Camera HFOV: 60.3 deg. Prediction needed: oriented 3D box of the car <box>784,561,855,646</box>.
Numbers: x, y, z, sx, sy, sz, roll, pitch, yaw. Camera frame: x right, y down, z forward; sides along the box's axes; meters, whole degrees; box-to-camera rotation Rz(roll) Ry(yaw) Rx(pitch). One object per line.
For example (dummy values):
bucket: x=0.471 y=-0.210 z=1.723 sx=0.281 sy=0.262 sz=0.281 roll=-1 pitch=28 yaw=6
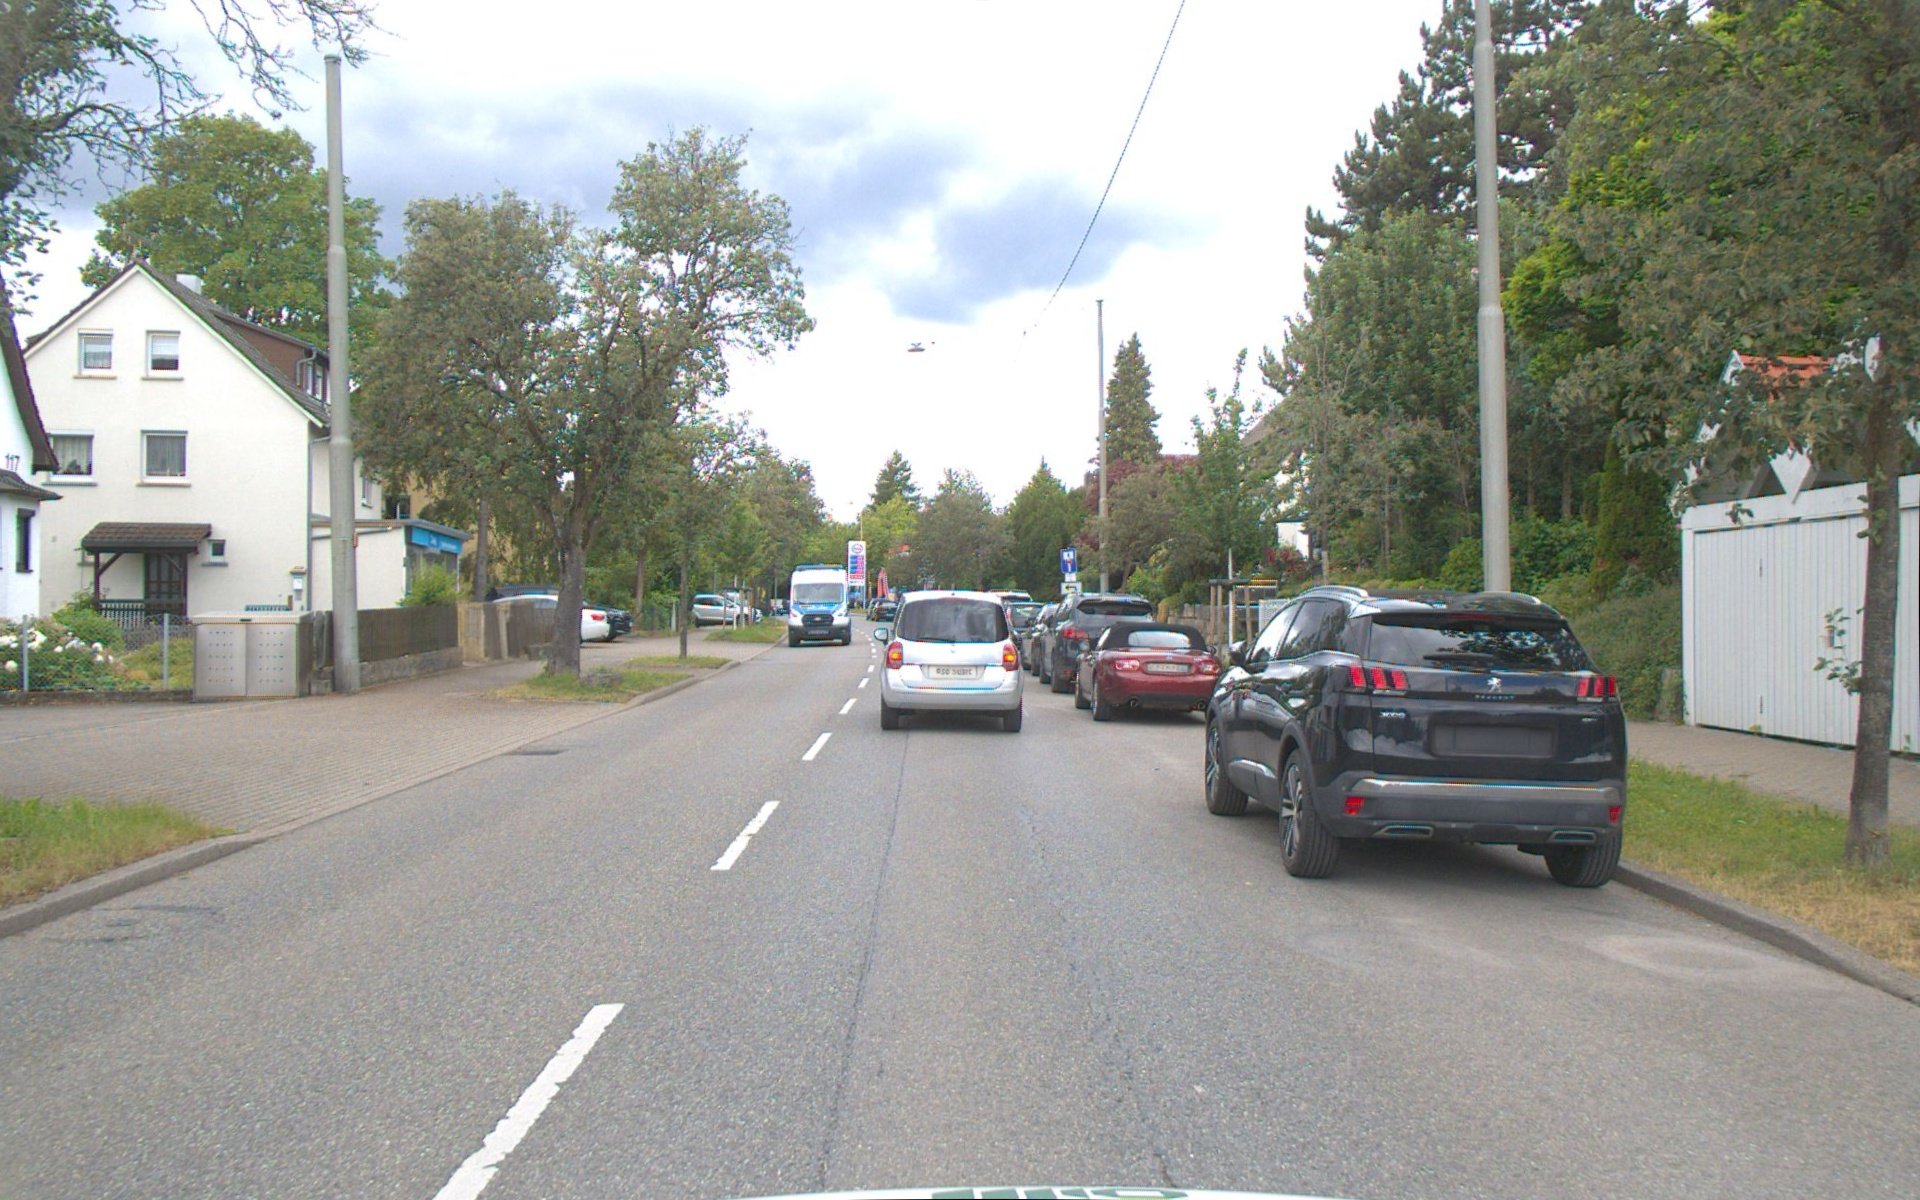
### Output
car: x=-4.619 y=0.103 z=55.116 sx=2.032 sy=2.627 sz=5.297 roll=-2 pitch=0 yaw=-2

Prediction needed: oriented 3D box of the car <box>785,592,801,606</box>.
car: x=-17.986 y=-0.104 z=177.641 sx=1.516 sy=1.496 sz=3.734 roll=0 pitch=0 yaw=-9

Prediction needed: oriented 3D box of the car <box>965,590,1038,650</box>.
car: x=1.286 y=0.608 z=52.793 sx=1.764 sy=1.809 sz=4.700 roll=1 pitch=0 yaw=-5

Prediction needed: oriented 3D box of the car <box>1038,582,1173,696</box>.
car: x=2.430 y=0.616 z=28.680 sx=1.793 sy=1.741 sz=4.548 roll=3 pitch=0 yaw=-1

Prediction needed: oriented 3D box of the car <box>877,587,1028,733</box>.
car: x=-0.095 y=0.653 z=19.991 sx=1.645 sy=1.587 sz=3.511 roll=1 pitch=0 yaw=0

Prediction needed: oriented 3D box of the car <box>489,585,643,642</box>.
car: x=-12.163 y=0.424 z=51.253 sx=4.245 sy=1.646 sz=1.973 roll=1 pitch=-1 yaw=-1

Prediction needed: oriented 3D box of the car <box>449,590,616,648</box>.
car: x=-11.705 y=0.520 z=45.488 sx=4.198 sy=1.392 sz=1.813 roll=2 pitch=-1 yaw=-8

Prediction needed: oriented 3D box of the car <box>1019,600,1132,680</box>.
car: x=2.304 y=0.767 z=34.110 sx=1.793 sy=1.482 sz=4.548 roll=2 pitch=0 yaw=-2

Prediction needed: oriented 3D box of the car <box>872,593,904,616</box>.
car: x=-4.959 y=0.275 z=113.662 sx=1.664 sy=1.532 sz=3.963 roll=0 pitch=0 yaw=-10

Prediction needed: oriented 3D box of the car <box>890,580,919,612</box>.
car: x=-5.348 y=-0.380 z=159.351 sx=2.238 sy=2.962 sz=5.271 roll=2 pitch=0 yaw=-7

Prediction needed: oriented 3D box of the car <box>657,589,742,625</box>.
car: x=-13.054 y=0.346 z=83.112 sx=4.005 sy=1.736 sz=1.746 roll=1 pitch=-1 yaw=-3

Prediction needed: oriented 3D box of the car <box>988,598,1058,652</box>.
car: x=1.768 y=0.693 z=47.525 sx=1.528 sy=1.468 sz=3.502 roll=1 pitch=0 yaw=-6

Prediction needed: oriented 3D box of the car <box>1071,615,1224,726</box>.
car: x=2.426 y=0.883 z=22.169 sx=1.451 sy=1.257 sz=3.883 roll=2 pitch=0 yaw=-2

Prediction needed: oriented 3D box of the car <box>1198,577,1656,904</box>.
car: x=2.706 y=0.726 z=10.566 sx=1.654 sy=1.637 sz=4.108 roll=2 pitch=0 yaw=-1

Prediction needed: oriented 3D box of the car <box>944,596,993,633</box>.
car: x=0.307 y=0.597 z=67.872 sx=1.595 sy=1.477 sz=3.871 roll=0 pitch=0 yaw=-6
